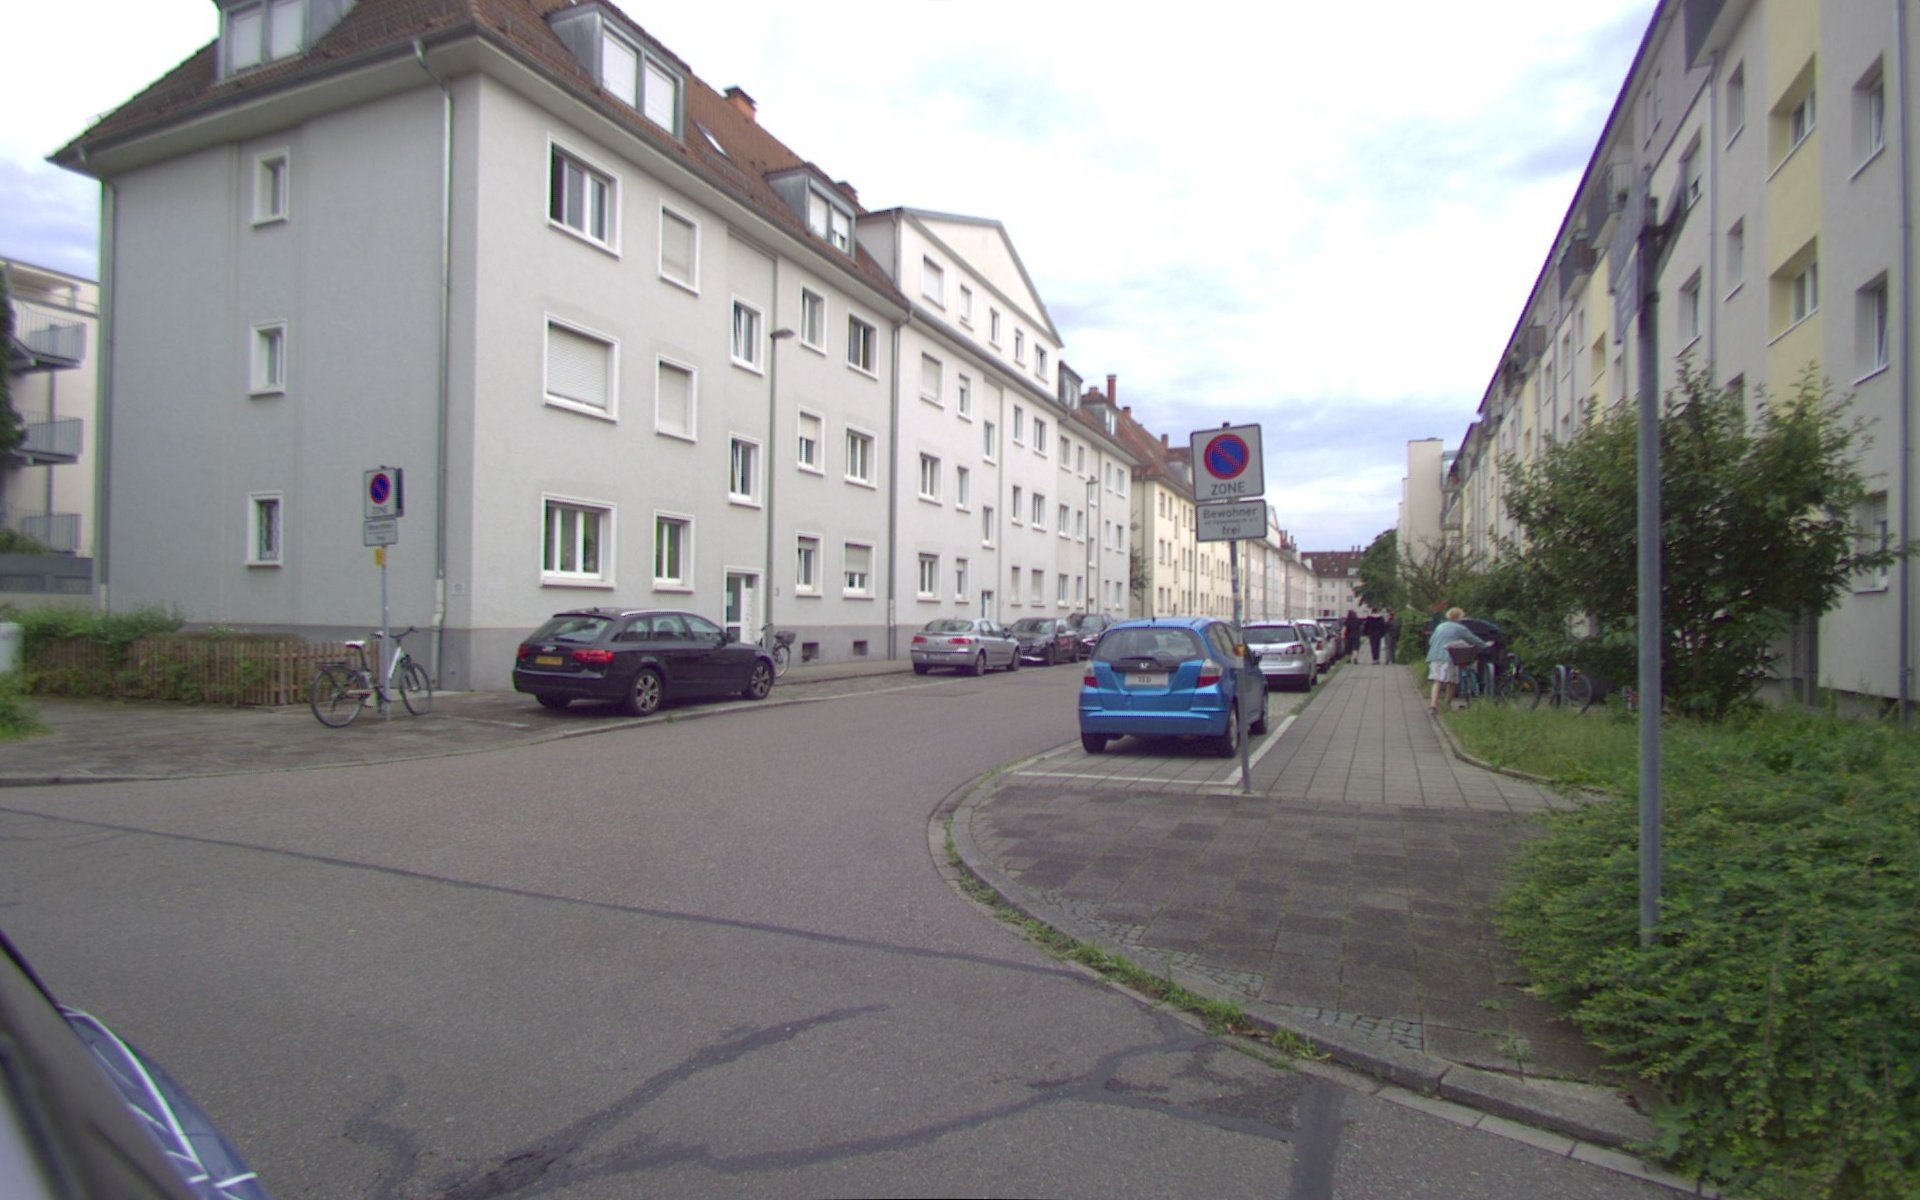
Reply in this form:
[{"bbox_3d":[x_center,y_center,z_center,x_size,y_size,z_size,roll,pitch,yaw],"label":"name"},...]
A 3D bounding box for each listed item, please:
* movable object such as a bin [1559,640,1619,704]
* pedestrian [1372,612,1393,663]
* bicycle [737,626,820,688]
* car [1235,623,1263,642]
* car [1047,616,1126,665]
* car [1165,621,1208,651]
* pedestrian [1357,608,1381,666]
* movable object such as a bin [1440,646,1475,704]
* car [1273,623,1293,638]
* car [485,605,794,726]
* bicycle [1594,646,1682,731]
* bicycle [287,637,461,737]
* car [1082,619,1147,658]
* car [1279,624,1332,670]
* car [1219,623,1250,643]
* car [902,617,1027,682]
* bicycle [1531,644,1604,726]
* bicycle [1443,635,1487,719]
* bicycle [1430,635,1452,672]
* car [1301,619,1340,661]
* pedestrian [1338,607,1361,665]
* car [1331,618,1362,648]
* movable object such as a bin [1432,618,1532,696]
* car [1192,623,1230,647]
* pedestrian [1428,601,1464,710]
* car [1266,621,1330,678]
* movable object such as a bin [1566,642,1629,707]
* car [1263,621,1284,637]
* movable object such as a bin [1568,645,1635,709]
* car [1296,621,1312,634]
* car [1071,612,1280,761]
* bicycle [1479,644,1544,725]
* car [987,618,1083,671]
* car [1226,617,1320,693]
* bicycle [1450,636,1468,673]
[{"bbox_3d":[11.607,1.320,18.702,0.838,1.125,0.594,0,-2,21],"label":"movable object such as a bin"},{"bbox_3d":[13.841,1.223,33.170,0.612,1.669,0.797,0,-1,23],"label":"pedestrian"},{"bbox_3d":[-3.749,1.162,21.071,0.746,1.209,1.880,2,-1,23],"label":"bicycle"},{"bbox_3d":[23.101,2.589,80.810,1.726,1.382,4.187,1,-1,21],"label":"car"},{"bbox_3d":[4.573,1.406,36.185,1.841,1.611,4.130,1,-1,21],"label":"car"},{"bbox_3d":[12.414,1.926,55.316,1.726,1.559,3.651,1,-1,21],"label":"car"},{"bbox_3d":[13.308,1.197,32.899,0.704,1.868,0.757,0,-2,23],"label":"pedestrian"},{"bbox_3d":[9.156,1.370,18.641,0.535,1.041,0.594,0,-2,22],"label":"movable object such as a bin"},{"bbox_3d":[34.251,3.211,107.299,1.726,1.463,4.187,1,-1,21],"label":"car"},{"bbox_3d":[-4.510,0.875,15.132,1.854,1.473,4.691,1,-1,21],"label":"car"},{"bbox_3d":[9.564,1.207,14.348,0.656,1.079,2.157,0,-2,24],"label":"bicycle"},{"bbox_3d":[-7.098,1.017,12.368,0.565,1.011,1.874,2,1,23],"label":"bicycle"},{"bbox_3d":[6.284,1.535,40.915,1.727,1.498,3.727,1,-1,23],"label":"car"},{"bbox_3d":[12.567,1.666,36.693,1.711,1.521,4.655,0,-2,20],"label":"car"},{"bbox_3d":[20.025,2.391,73.810,1.726,1.421,4.187,1,-1,21],"label":"car"},{"bbox_3d":[0.221,1.202,25.852,1.726,1.474,4.398,1,-1,21],"label":"car"},{"bbox_3d":[8.939,1.210,14.967,0.656,1.079,2.157,0,-2,24],"label":"bicycle"},{"bbox_3d":[7.360,1.084,14.731,0.535,1.128,1.801,0,-2,27],"label":"bicycle"},{"bbox_3d":[13.886,1.524,29.259,0.486,1.032,1.864,0,-1,23],"label":"bicycle"},{"bbox_3d":[16.777,1.845,46.994,1.565,1.793,4.419,0,-2,22],"label":"car"},{"bbox_3d":[12.886,1.182,33.455,0.638,1.878,0.966,-2,-2,23],"label":"pedestrian"},{"bbox_3d":[23.909,2.040,62.677,1.695,1.820,3.518,0,-2,20],"label":"car"},{"bbox_3d":[10.118,1.078,19.717,1.584,1.432,1.658,0,-2,22],"label":"movable object such as a bin"},{"bbox_3d":[15.797,2.170,63.486,1.727,1.437,4.185,1,-1,22],"label":"car"},{"bbox_3d":[7.130,0.803,14.841,0.446,1.561,0.562,0,-2,28],"label":"pedestrian"},{"bbox_3d":[10.570,1.489,31.502,1.679,1.651,3.700,0,-1,22],"label":"car"},{"bbox_3d":[11.373,1.317,18.085,0.838,1.125,0.594,0,-2,21],"label":"movable object such as a bin"},{"bbox_3d":[30.483,2.799,98.352,1.726,1.463,4.187,1,-1,21],"label":"car"},{"bbox_3d":[11.080,1.313,17.504,0.861,1.059,0.629,0,-2,22],"label":"movable object such as a bin"},{"bbox_3d":[45.488,3.642,133.818,1.726,1.692,3.566,1,-1,21],"label":"car"},{"bbox_3d":[2.736,0.934,12.179,1.725,1.474,3.926,-2,-2,23],"label":"car"},{"bbox_3d":[8.096,1.203,14.927,0.655,1.076,2.105,0,-2,24],"label":"bicycle"},{"bbox_3d":[2.397,1.336,31.212,1.775,1.474,4.291,1,-1,21],"label":"car"},{"bbox_3d":[7.216,1.205,23.144,1.649,1.562,3.884,0,-2,23],"label":"car"},{"bbox_3d":[14.281,1.542,28.969,0.355,1.032,1.486,0,-1,22],"label":"bicycle"}]
